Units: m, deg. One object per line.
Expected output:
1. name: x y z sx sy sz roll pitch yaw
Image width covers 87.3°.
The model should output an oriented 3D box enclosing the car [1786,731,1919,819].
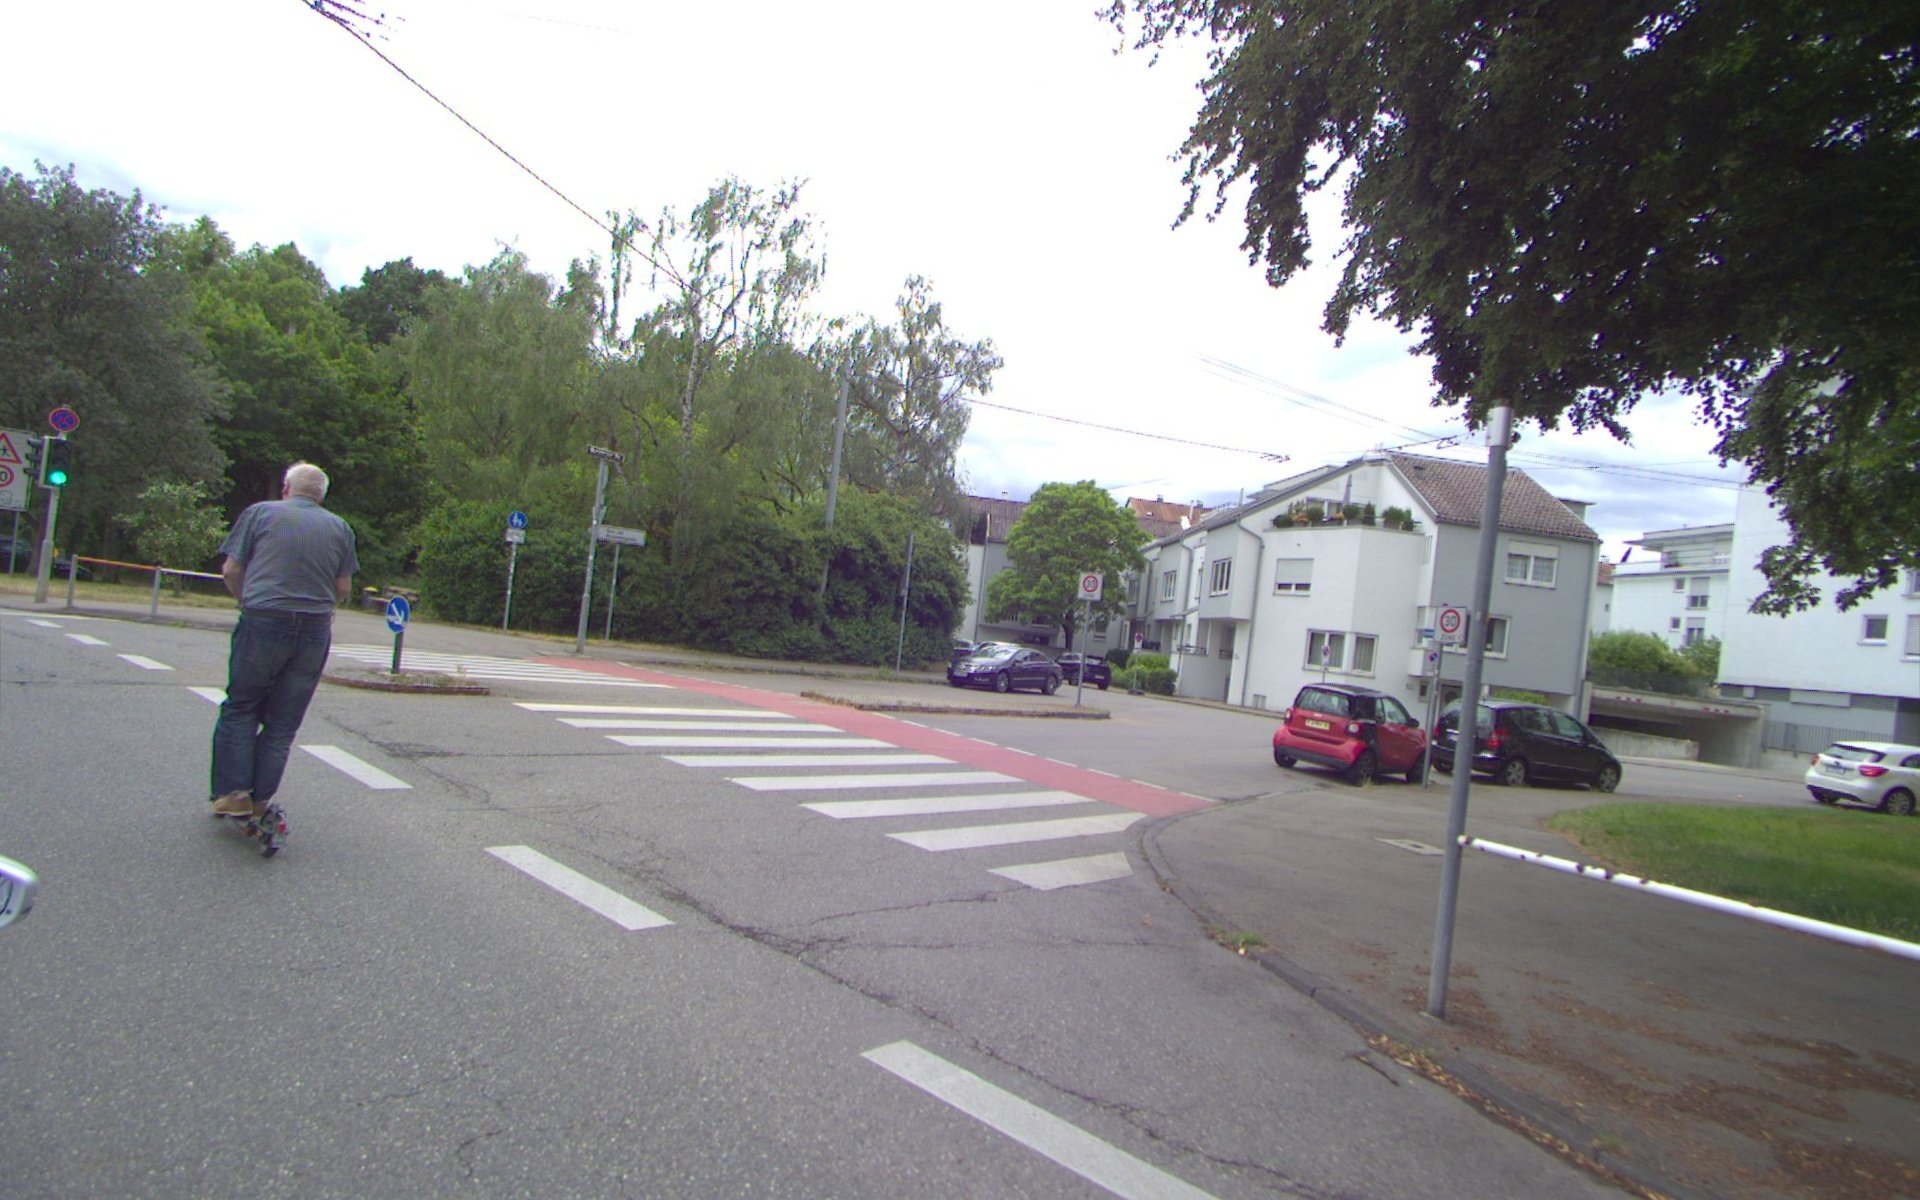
1. car: 20.037 3.756 21.007 3.996 1.452 1.795 6 -1 0

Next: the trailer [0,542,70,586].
1. trailer: -32.626 -1.333 33.998 1.588 1.281 3.412 4 -3 26

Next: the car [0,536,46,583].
1. car: -34.556 -1.581 35.093 1.563 1.493 3.537 5 -3 23

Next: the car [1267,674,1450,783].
1. car: 6.984 2.263 17.567 2.900 1.524 1.677 9 -2 -40

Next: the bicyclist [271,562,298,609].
1. bicyclist: -18.197 -0.371 27.094 0.514 1.201 0.959 6 -2 -35

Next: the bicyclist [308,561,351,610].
1. bicyclist: -16.499 -0.378 26.327 0.792 1.176 0.639 5 -1 39

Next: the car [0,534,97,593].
1. car: -28.674 -1.209 30.275 1.551 1.493 3.722 5 -3 33

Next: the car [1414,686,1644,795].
1. car: 11.198 2.751 19.836 3.772 1.609 1.812 8 -2 -19

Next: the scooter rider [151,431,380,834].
1. scooter rider: -3.489 0.144 5.015 0.678 1.751 1.183 7 -1 -40

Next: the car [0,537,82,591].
1. car: -30.626 -1.271 31.666 1.548 1.493 4.150 4 -3 25

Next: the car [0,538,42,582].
1. car: -36.519 -1.680 36.585 1.606 1.480 4.232 5 -3 26

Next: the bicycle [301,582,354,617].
1. bicycle: -16.566 -0.012 26.326 1.657 0.767 0.639 4 -2 39

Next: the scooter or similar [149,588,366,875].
1. scooter or similar: -3.555 0.590 5.040 0.678 1.153 1.444 7 -1 -39

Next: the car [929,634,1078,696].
1. car: 1.427 2.039 30.930 2.010 1.455 4.782 5 -2 40

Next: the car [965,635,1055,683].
1. car: 1.943 2.325 39.908 1.788 1.504 3.645 7 -3 -29

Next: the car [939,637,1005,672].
1. car: 0.617 2.990 55.888 1.912 1.562 4.039 7 -3 -27

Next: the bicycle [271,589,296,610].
1. bicycle: -18.227 -0.003 27.087 0.514 0.503 0.980 6 -3 -35

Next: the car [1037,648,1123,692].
1. car: 5.492 3.206 46.609 1.912 1.562 4.039 7 -3 -27
